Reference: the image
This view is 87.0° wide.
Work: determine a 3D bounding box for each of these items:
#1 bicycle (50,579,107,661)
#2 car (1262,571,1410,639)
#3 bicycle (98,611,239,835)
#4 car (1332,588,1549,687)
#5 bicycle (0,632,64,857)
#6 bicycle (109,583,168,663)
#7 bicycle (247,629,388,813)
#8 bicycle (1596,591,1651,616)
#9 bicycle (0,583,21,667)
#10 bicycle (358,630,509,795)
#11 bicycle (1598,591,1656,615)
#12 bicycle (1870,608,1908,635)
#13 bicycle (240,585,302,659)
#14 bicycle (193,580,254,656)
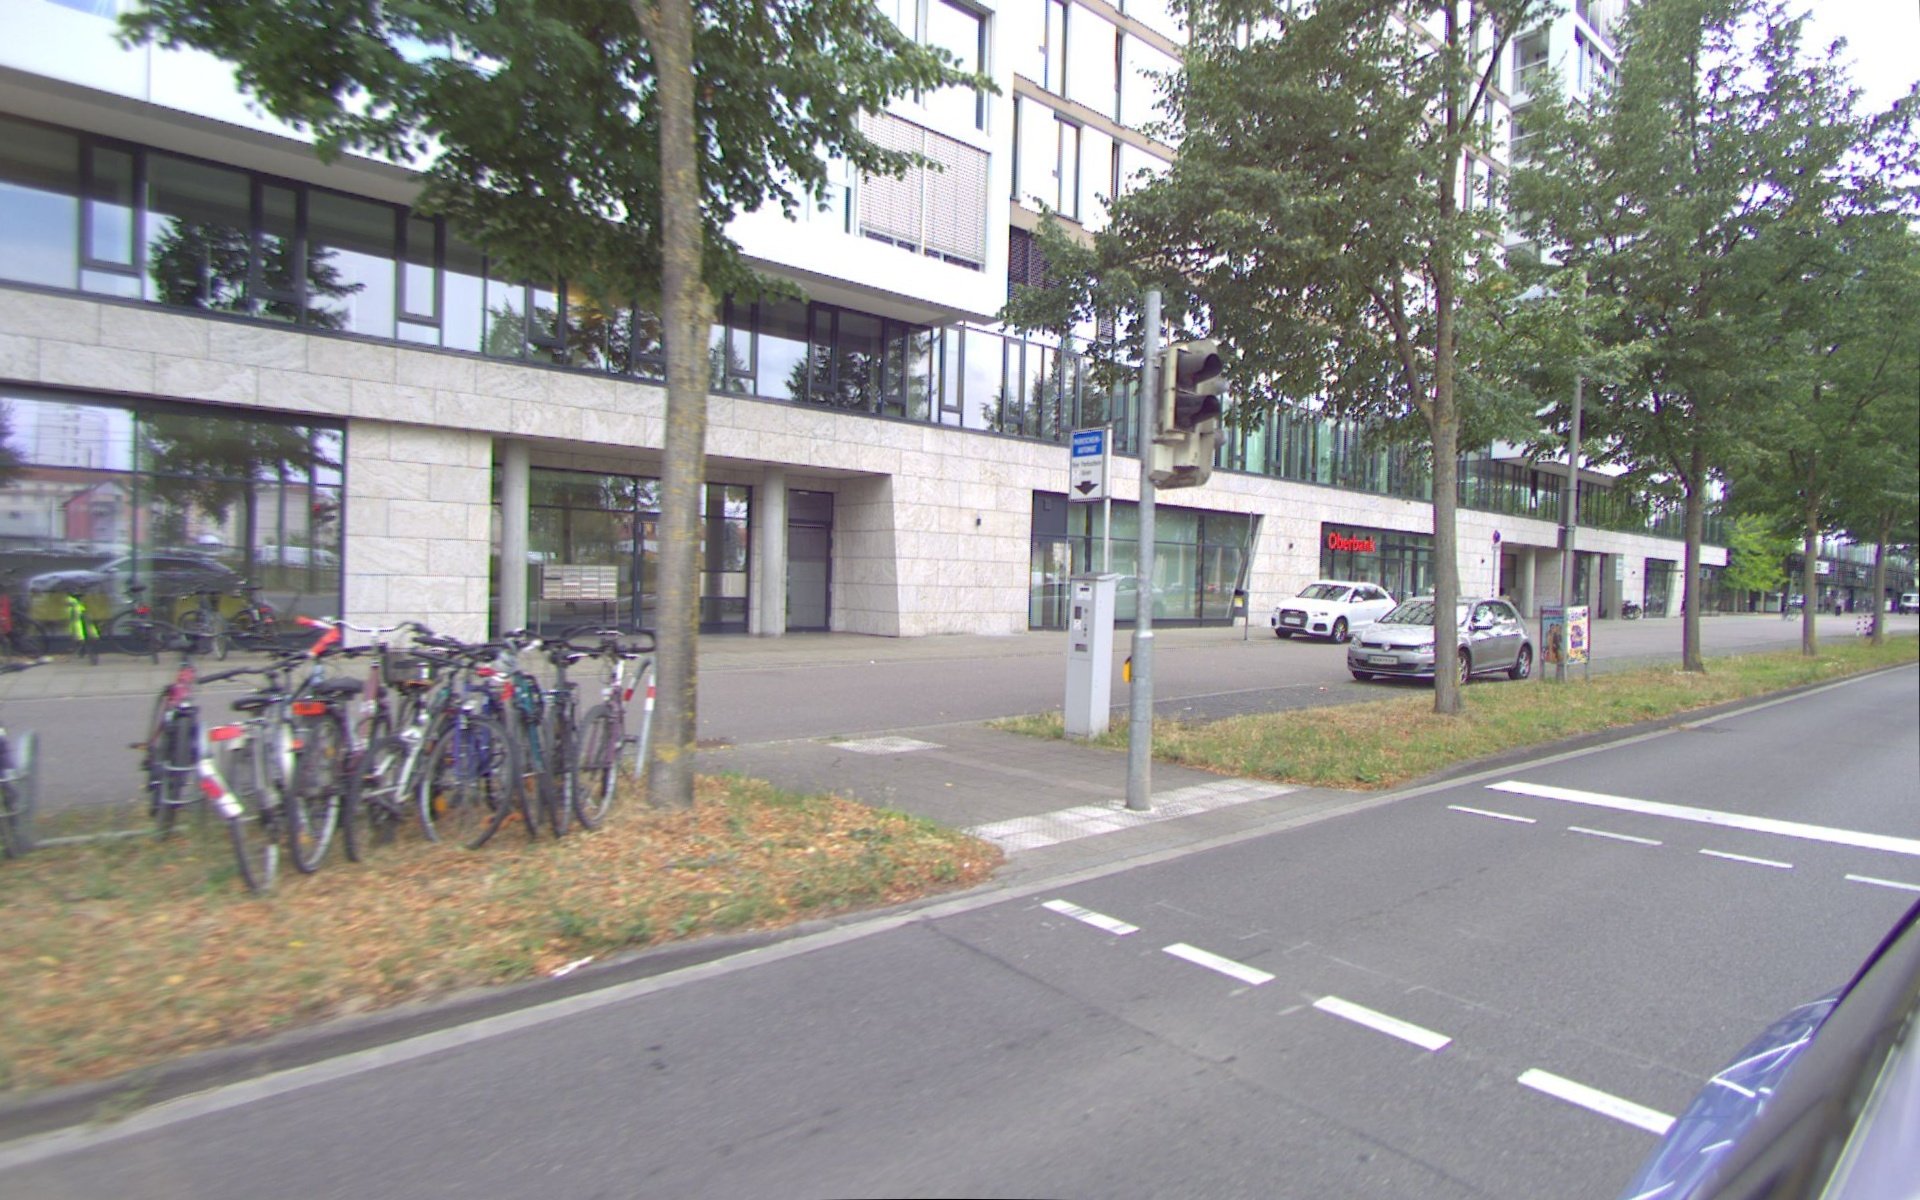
[{"bbox_3d":[-11.376,0.234,13.054,0.524,0.965,1.531,0,2,-42],"label":"bicycle"},{"bbox_3d":[10.200,0.100,27.315,4.165,1.607,1.862,0,4,-40],"label":"car"},{"bbox_3d":[-4.573,0.618,5.811,0.516,1.104,1.670,0,-1,-42],"label":"bicycle"},{"bbox_3d":[8.214,0.542,17.146,4.108,1.439,1.764,0,1,-40],"label":"car"},{"bbox_3d":[-5.199,0.700,5.288,1.771,1.025,0.601,-1,-1,43],"label":"bicycle"},{"bbox_3d":[-10.917,0.275,13.431,0.524,0.965,1.531,0,2,-42],"label":"bicycle"},{"bbox_3d":[-3.985,0.677,6.234,0.476,0.965,1.530,0,-1,-42],"label":"bicycle"},{"bbox_3d":[34.646,0.158,52.857,2.231,1.191,0.961,2,2,43],"label":"bicycle"},{"bbox_3d":[-11.975,0.291,12.508,0.524,0.965,1.531,0,2,-42],"label":"bicycle"},{"bbox_3d":[-3.611,0.703,6.888,0.543,0.965,1.530,0,-1,-42],"label":"bicycle"},{"bbox_3d":[35.434,0.149,53.794,2.418,1.191,1.184,2,2,43],"label":"bicycle"},{"bbox_3d":[32.088,0.725,34.948,2.077,0.887,0.634,-1,0,-38],"label":"bicycle"},{"bbox_3d":[-9.850,0.288,14.453,0.524,0.965,1.531,0,2,-42],"label":"bicycle"},{"bbox_3d":[-10.252,0.226,14.076,0.524,0.965,1.531,0,2,-42],"label":"bicycle"}]
